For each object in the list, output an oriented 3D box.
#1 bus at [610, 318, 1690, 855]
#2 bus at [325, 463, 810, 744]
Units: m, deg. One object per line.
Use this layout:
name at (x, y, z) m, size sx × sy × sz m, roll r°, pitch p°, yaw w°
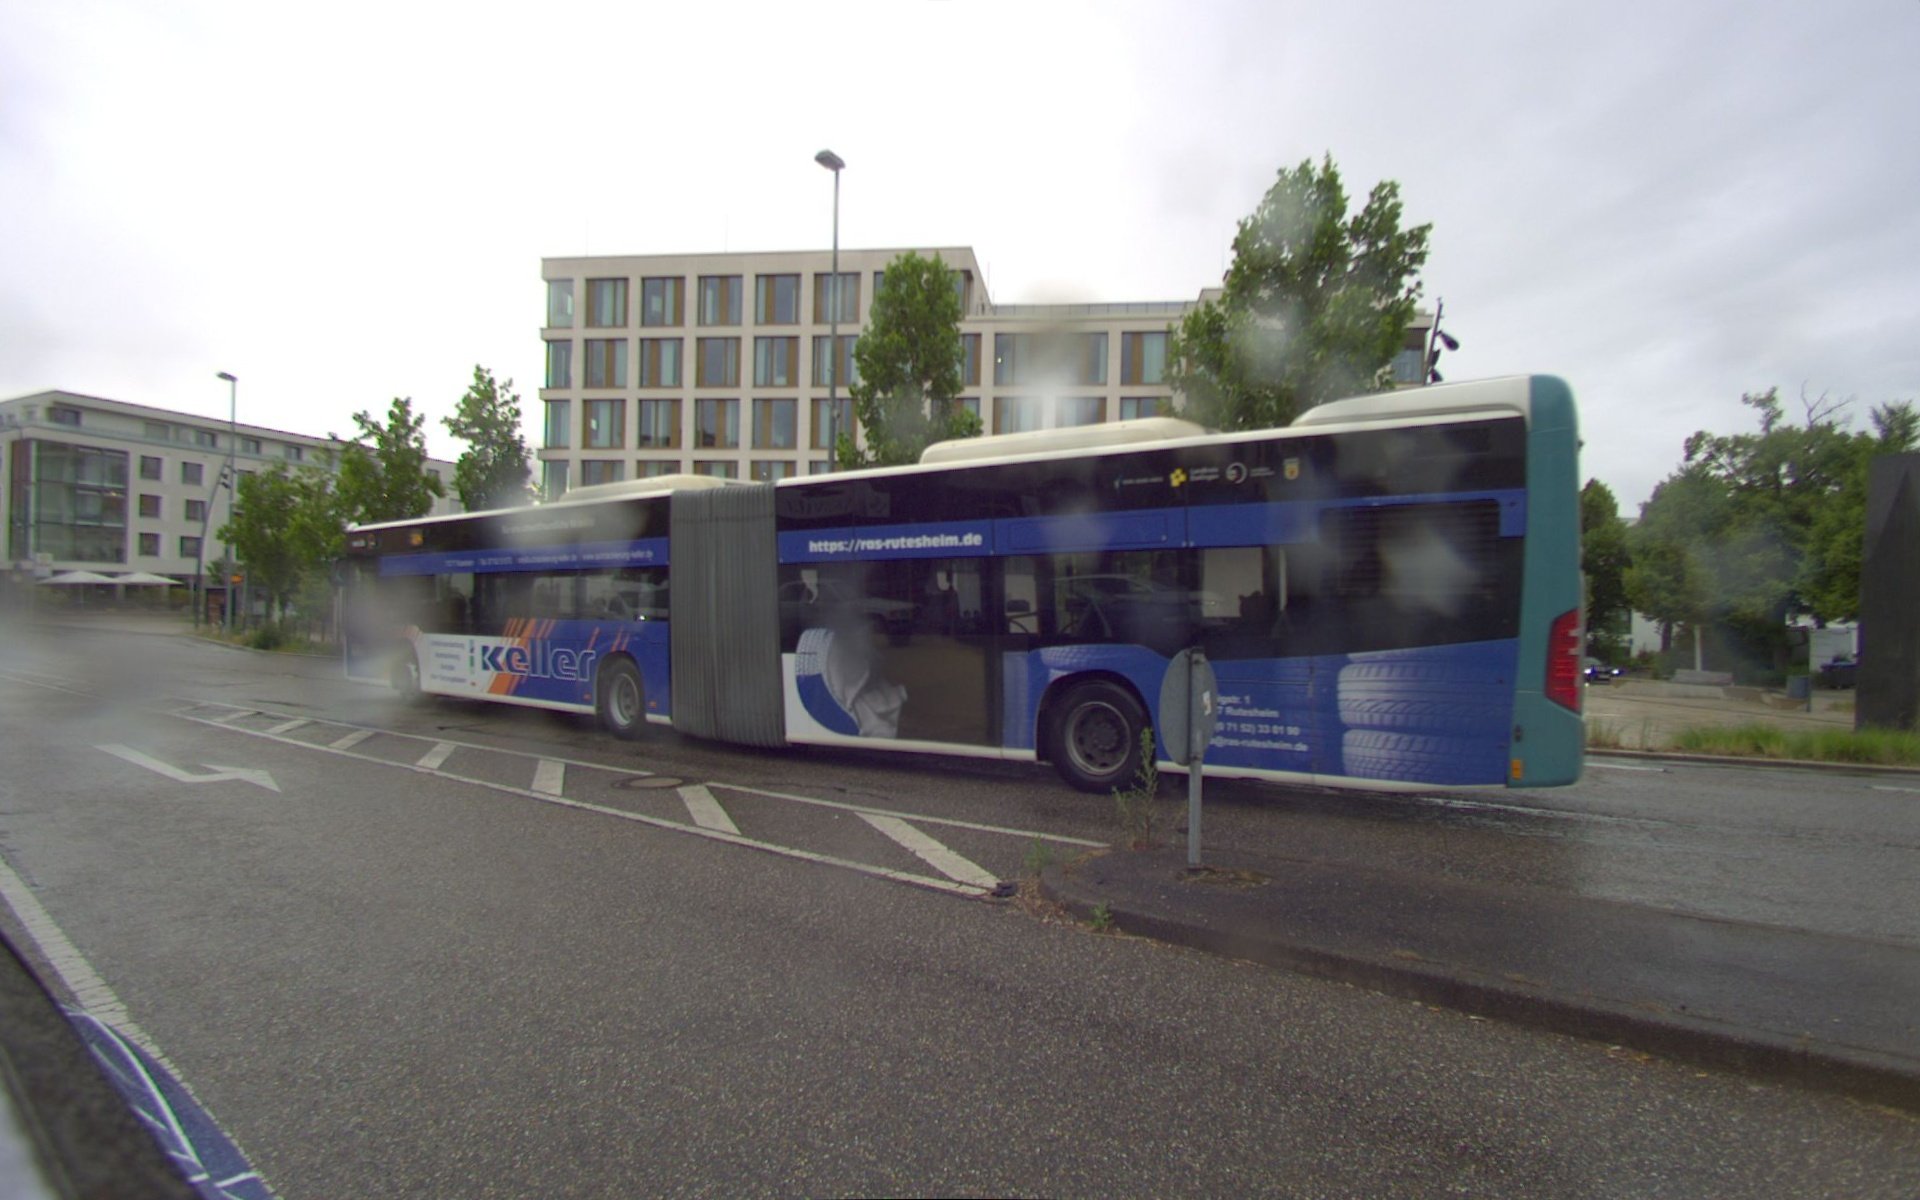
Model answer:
bus at (0.966, -0.034, 9.538) m, size 9.334 × 3.138 × 2.756 m, roll 0°, pitch -2°, yaw 31°
bus at (-6.301, 0.098, 15.213) m, size 8.875 × 3.138 × 2.764 m, roll -1°, pitch -2°, yaw 39°
